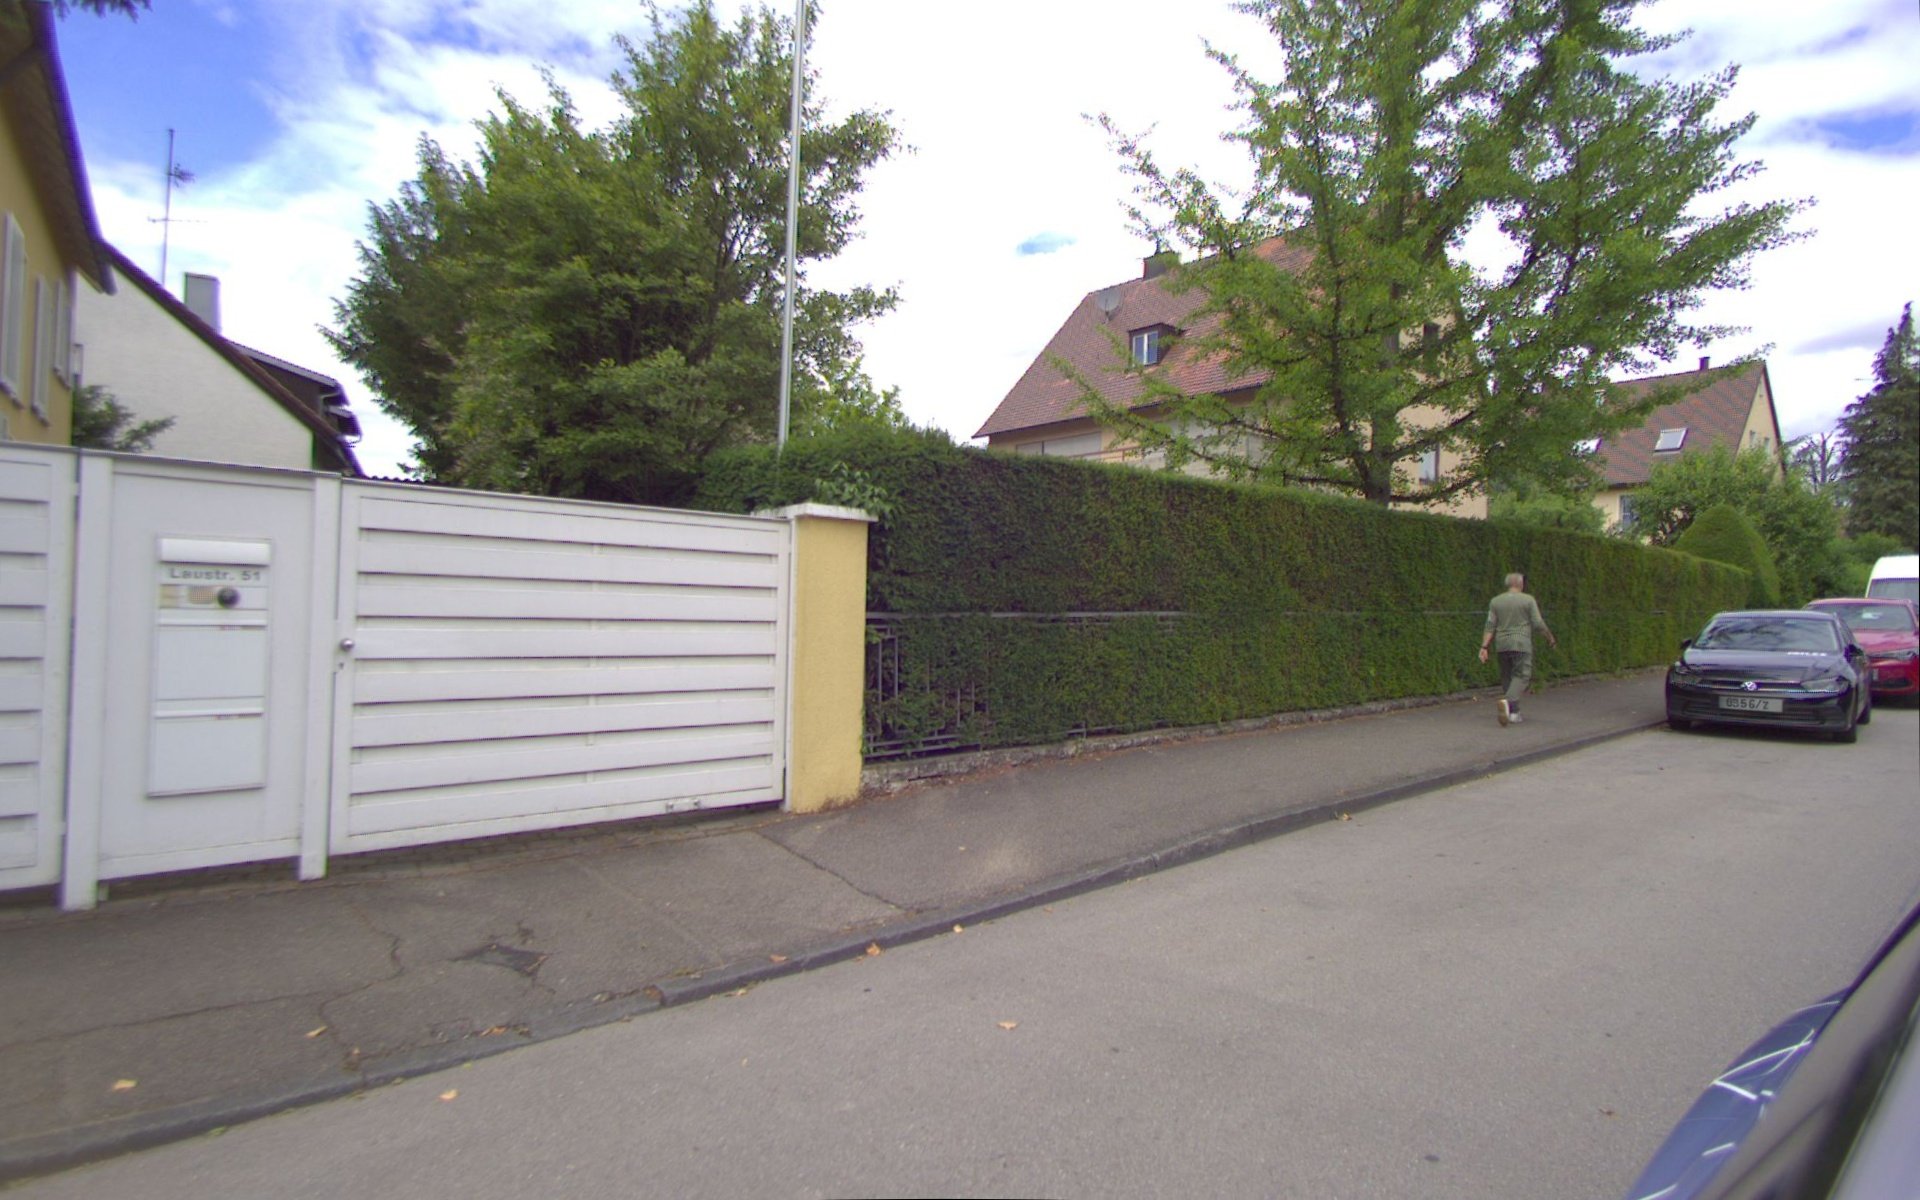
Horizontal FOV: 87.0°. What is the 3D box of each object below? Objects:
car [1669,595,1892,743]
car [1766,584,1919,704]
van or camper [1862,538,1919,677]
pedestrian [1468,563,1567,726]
[{"bbox_3d":[10.025,0.694,12.254,1.680,1.424,3.988,4,3,45],"label":"car"},{"bbox_3d":[14.710,0.616,16.232,4.681,1.600,1.893,0,2,-41],"label":"car"},{"bbox_3d":[20.859,0.145,21.410,6.920,2.653,2.043,0,0,-43],"label":"van or camper"},{"bbox_3d":[6.234,0.467,11.306,0.902,1.719,0.670,1,1,-43],"label":"pedestrian"}]
